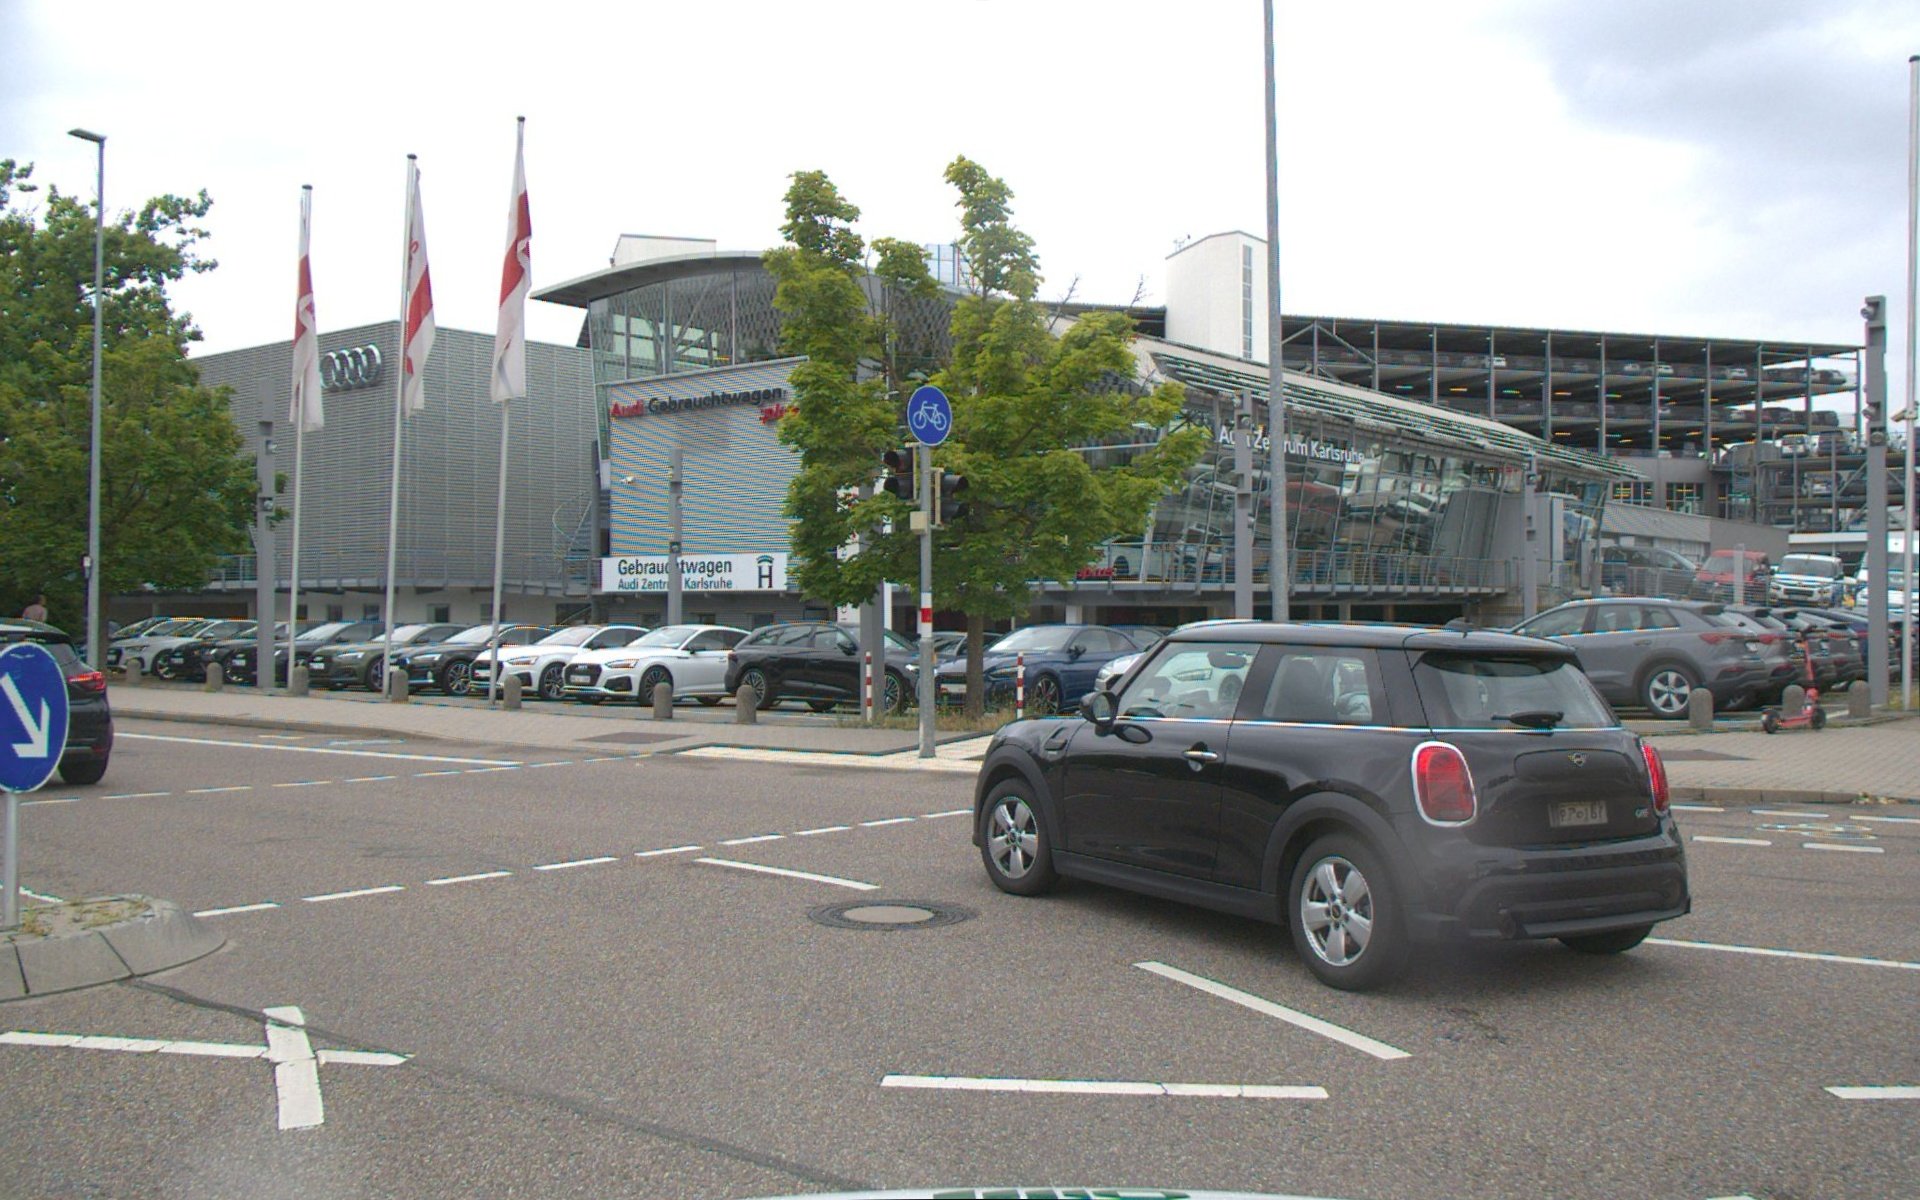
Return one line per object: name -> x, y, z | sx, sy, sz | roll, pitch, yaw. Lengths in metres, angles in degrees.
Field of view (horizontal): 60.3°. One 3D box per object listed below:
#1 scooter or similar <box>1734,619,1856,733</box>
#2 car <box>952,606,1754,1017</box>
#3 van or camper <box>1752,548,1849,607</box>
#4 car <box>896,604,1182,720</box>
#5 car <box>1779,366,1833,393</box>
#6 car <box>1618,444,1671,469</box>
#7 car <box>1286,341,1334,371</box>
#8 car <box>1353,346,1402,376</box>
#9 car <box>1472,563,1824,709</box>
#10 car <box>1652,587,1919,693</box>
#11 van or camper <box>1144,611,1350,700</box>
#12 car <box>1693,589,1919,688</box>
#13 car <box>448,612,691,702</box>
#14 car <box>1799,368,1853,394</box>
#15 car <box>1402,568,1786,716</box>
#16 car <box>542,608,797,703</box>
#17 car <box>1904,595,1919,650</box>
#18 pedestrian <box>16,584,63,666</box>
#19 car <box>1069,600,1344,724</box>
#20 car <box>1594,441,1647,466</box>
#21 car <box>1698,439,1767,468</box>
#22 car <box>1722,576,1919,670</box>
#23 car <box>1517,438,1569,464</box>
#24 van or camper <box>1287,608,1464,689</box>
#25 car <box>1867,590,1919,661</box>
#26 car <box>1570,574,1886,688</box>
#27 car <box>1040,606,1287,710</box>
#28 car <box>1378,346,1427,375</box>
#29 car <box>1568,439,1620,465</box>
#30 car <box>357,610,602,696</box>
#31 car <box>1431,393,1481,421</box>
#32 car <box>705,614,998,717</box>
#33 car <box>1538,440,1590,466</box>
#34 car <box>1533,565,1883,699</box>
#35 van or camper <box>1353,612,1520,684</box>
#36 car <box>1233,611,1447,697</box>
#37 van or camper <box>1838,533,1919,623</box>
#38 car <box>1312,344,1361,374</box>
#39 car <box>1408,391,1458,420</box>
scooter or similar -> 9.659, 0.854, 19.115 | 1.541, 1.240, 0.552 | 0, 2, -35
car -> 1.585, 0.773, 7.840 | 1.766, 1.440, 3.609 | 2, -1, -28
van or camper -> 26.131, -0.673, 51.339 | 1.962, 1.680, 3.982 | 2, 0, 38
car -> 1.256, 0.949, 24.038 | 2.029, 1.512, 4.498 | -2, -4, 36
car -> 71.722, -18.686, 140.282 | 1.961, 1.696, 3.983 | 1, 0, -16
car -> 56.019, -11.722, 135.401 | 1.961, 1.696, 3.983 | 1, 0, -16
car -> 26.706, -18.607, 126.319 | 1.961, 1.696, 3.983 | 1, 0, -16
car -> 32.166, -18.435, 127.561 | 1.961, 1.696, 3.983 | 1, 0, -16
car -> 10.509, 0.602, 25.432 | 4.625, 2.049, 1.991 | -2, -3, 38
car -> 17.098, 0.863, 34.151 | 4.813, 2.049, 1.991 | -2, -3, 38
van or camper -> 6.218, 1.160, 35.995 | 3.924, 1.706, 1.991 | 2, 0, 38
car -> 18.872, 0.883, 36.193 | 4.813, 2.049, 1.991 | -2, -3, 38
car -> -7.038, 1.061, 30.143 | 1.841, 1.512, 4.025 | 0, -3, 38
car -> 73.798, -18.671, 140.991 | 1.961, 1.696, 3.983 | 1, 0, -16
car -> 8.908, 0.637, 23.433 | 4.694, 1.895, 1.991 | -2, -3, 38
car -> -4.959, 0.998, 28.685 | 1.817, 1.512, 4.177 | 0, -3, 39
car -> 37.672, 0.912, 61.732 | 3.926, 2.049, 1.990 | 2, 0, 40
pedestrian -> -21.752, 0.597, 39.091 | 0.660, 1.904, 0.716 | -1, -3, 38
car -> 3.413, 0.845, 22.297 | 1.839, 1.512, 4.208 | -1, -3, 39
car -> 53.618, -11.872, 134.332 | 1.961, 1.696, 3.983 | 1, 0, -16
car -> 65.116, -12.301, 139.501 | 2.170, 1.979, 5.302 | 1, 0, -19
car -> 20.563, 0.569, 38.468 | 4.813, 2.049, 1.991 | -2, -3, 38
car -> 46.477, -11.855, 131.978 | 1.961, 1.696, 3.983 | 1, 0, -16
van or camper -> 10.528, 1.203, 41.986 | 3.924, 1.847, 1.838 | 2, 0, 39
car -> 26.585, 0.727, 44.088 | 3.926, 1.870, 1.751 | 2, 0, 40
car -> 13.810, 0.618, 29.879 | 4.863, 1.909, 2.046 | -2, -3, 36
car -> 4.121, 1.131, 33.958 | 4.727, 1.973, 1.990 | -1, -1, 40
car -> 34.358, -18.586, 128.486 | 1.961, 1.696, 3.983 | 1, 0, -16
car -> 51.246, -11.950, 133.748 | 1.961, 1.696, 3.983 | 1, 0, -16
car -> -9.162, 1.041, 31.834 | 1.836, 1.512, 4.211 | 0, -3, 39
car -> 38.818, -15.067, 129.578 | 1.961, 1.696, 3.983 | 1, 0, -16
car -> -1.805, 1.041, 26.619 | 4.665, 1.512, 1.883 | -1, -4, 39
car -> 48.498, -11.795, 132.775 | 1.961, 1.696, 3.983 | 1, 0, -16
car -> 12.456, 0.594, 27.702 | 4.941, 2.049, 2.256 | -2, -3, 38
van or camper -> 12.816, 1.253, 44.582 | 3.924, 1.741, 1.838 | 2, 0, 39
car -> 9.220, 1.253, 40.305 | 4.727, 1.973, 1.990 | -1, -1, 40
van or camper -> 33.629, -0.763, 59.786 | 2.495, 3.079, 4.821 | 2, 0, 38
car -> 28.942, -18.537, 127.194 | 1.961, 1.696, 3.983 | 1, 0, -16
car -> 36.778, -15.125, 128.773 | 1.961, 1.696, 3.983 | 1, 0, -16
